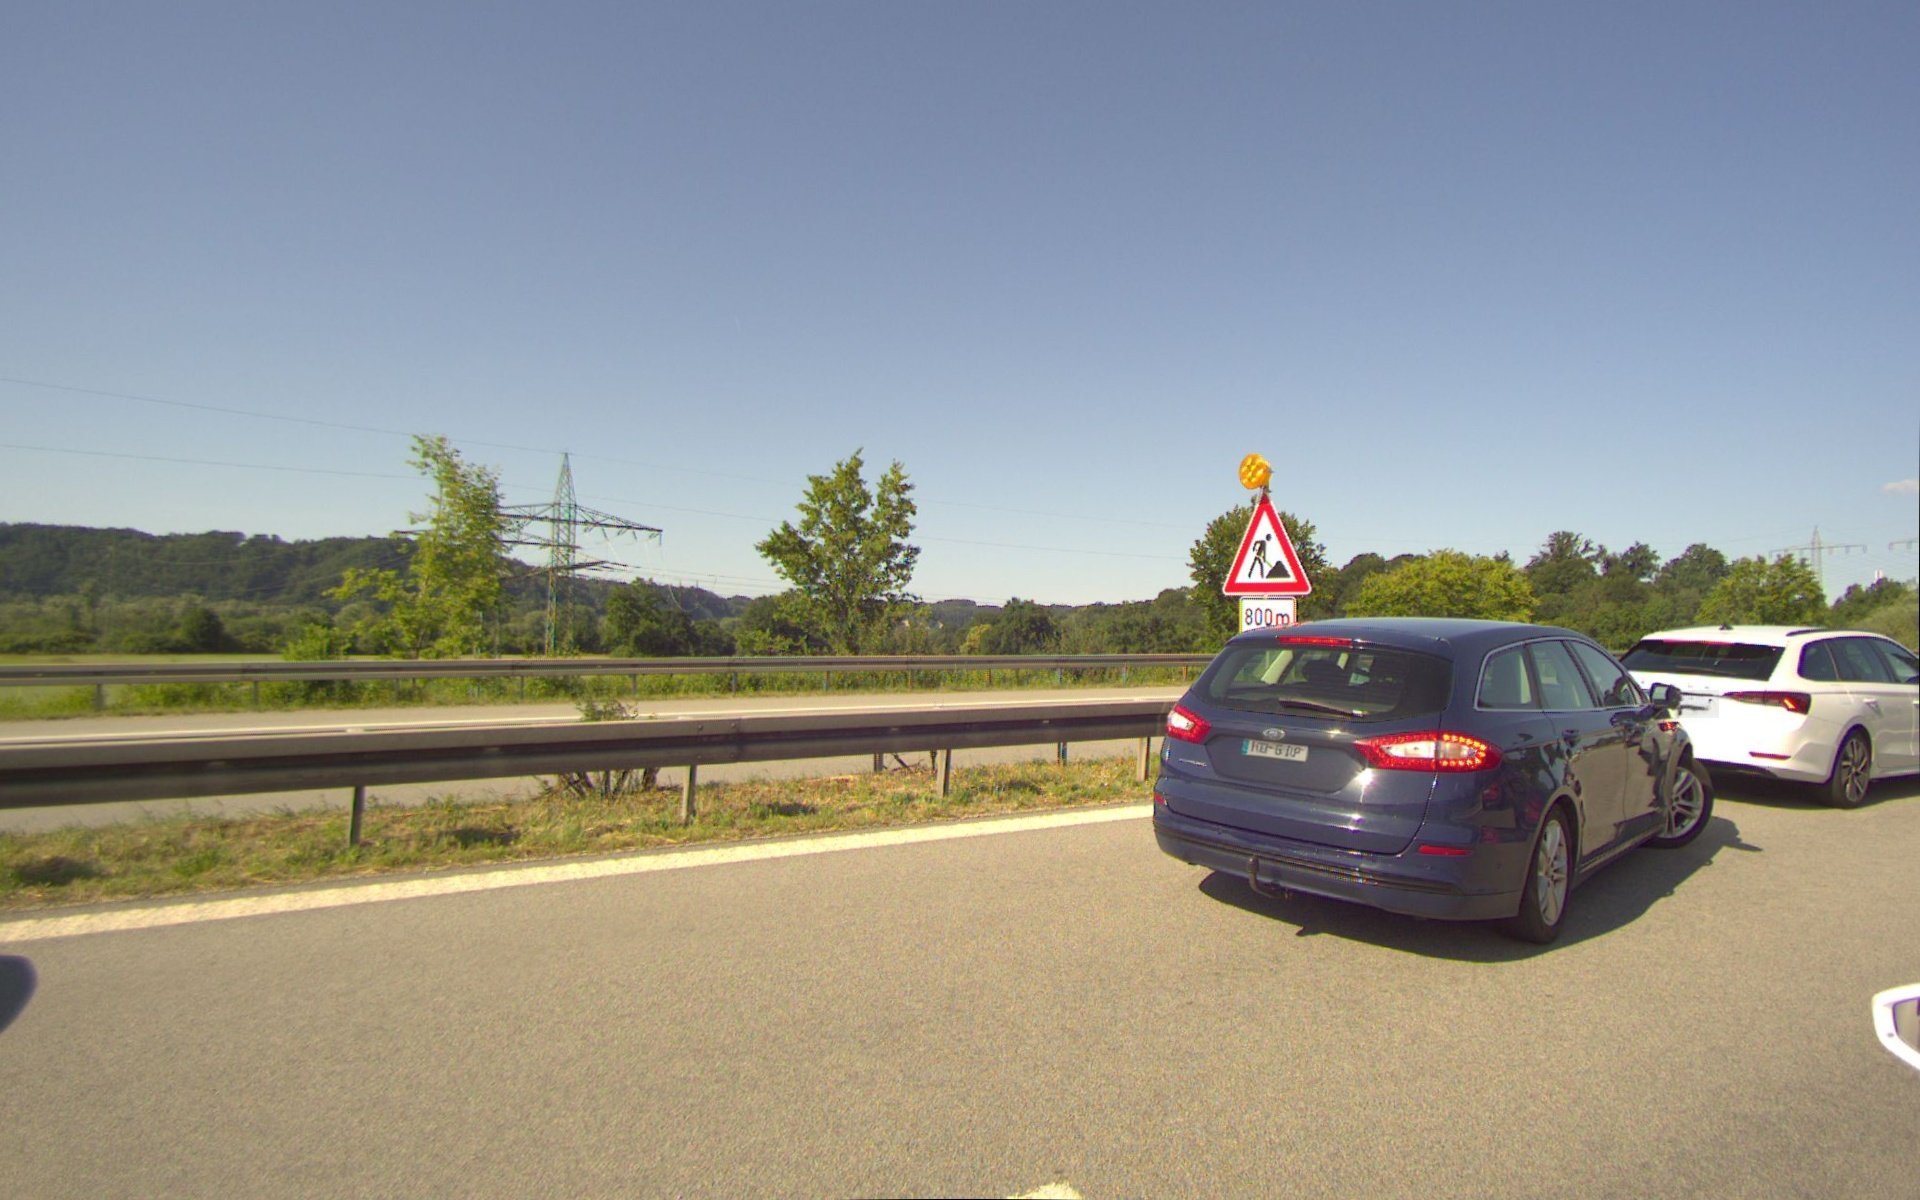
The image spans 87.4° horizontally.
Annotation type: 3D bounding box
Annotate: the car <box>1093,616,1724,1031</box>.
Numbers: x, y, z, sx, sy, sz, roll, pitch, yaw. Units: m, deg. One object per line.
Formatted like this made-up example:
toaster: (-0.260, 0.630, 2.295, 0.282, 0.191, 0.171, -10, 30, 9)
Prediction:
car: (2.898, 0.880, 5.875, 4.460, 1.513, 1.771, 2, -1, -43)

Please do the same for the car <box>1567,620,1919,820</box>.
car: (7.700, 0.965, 9.347, 4.159, 1.461, 1.687, 1, 0, -29)
